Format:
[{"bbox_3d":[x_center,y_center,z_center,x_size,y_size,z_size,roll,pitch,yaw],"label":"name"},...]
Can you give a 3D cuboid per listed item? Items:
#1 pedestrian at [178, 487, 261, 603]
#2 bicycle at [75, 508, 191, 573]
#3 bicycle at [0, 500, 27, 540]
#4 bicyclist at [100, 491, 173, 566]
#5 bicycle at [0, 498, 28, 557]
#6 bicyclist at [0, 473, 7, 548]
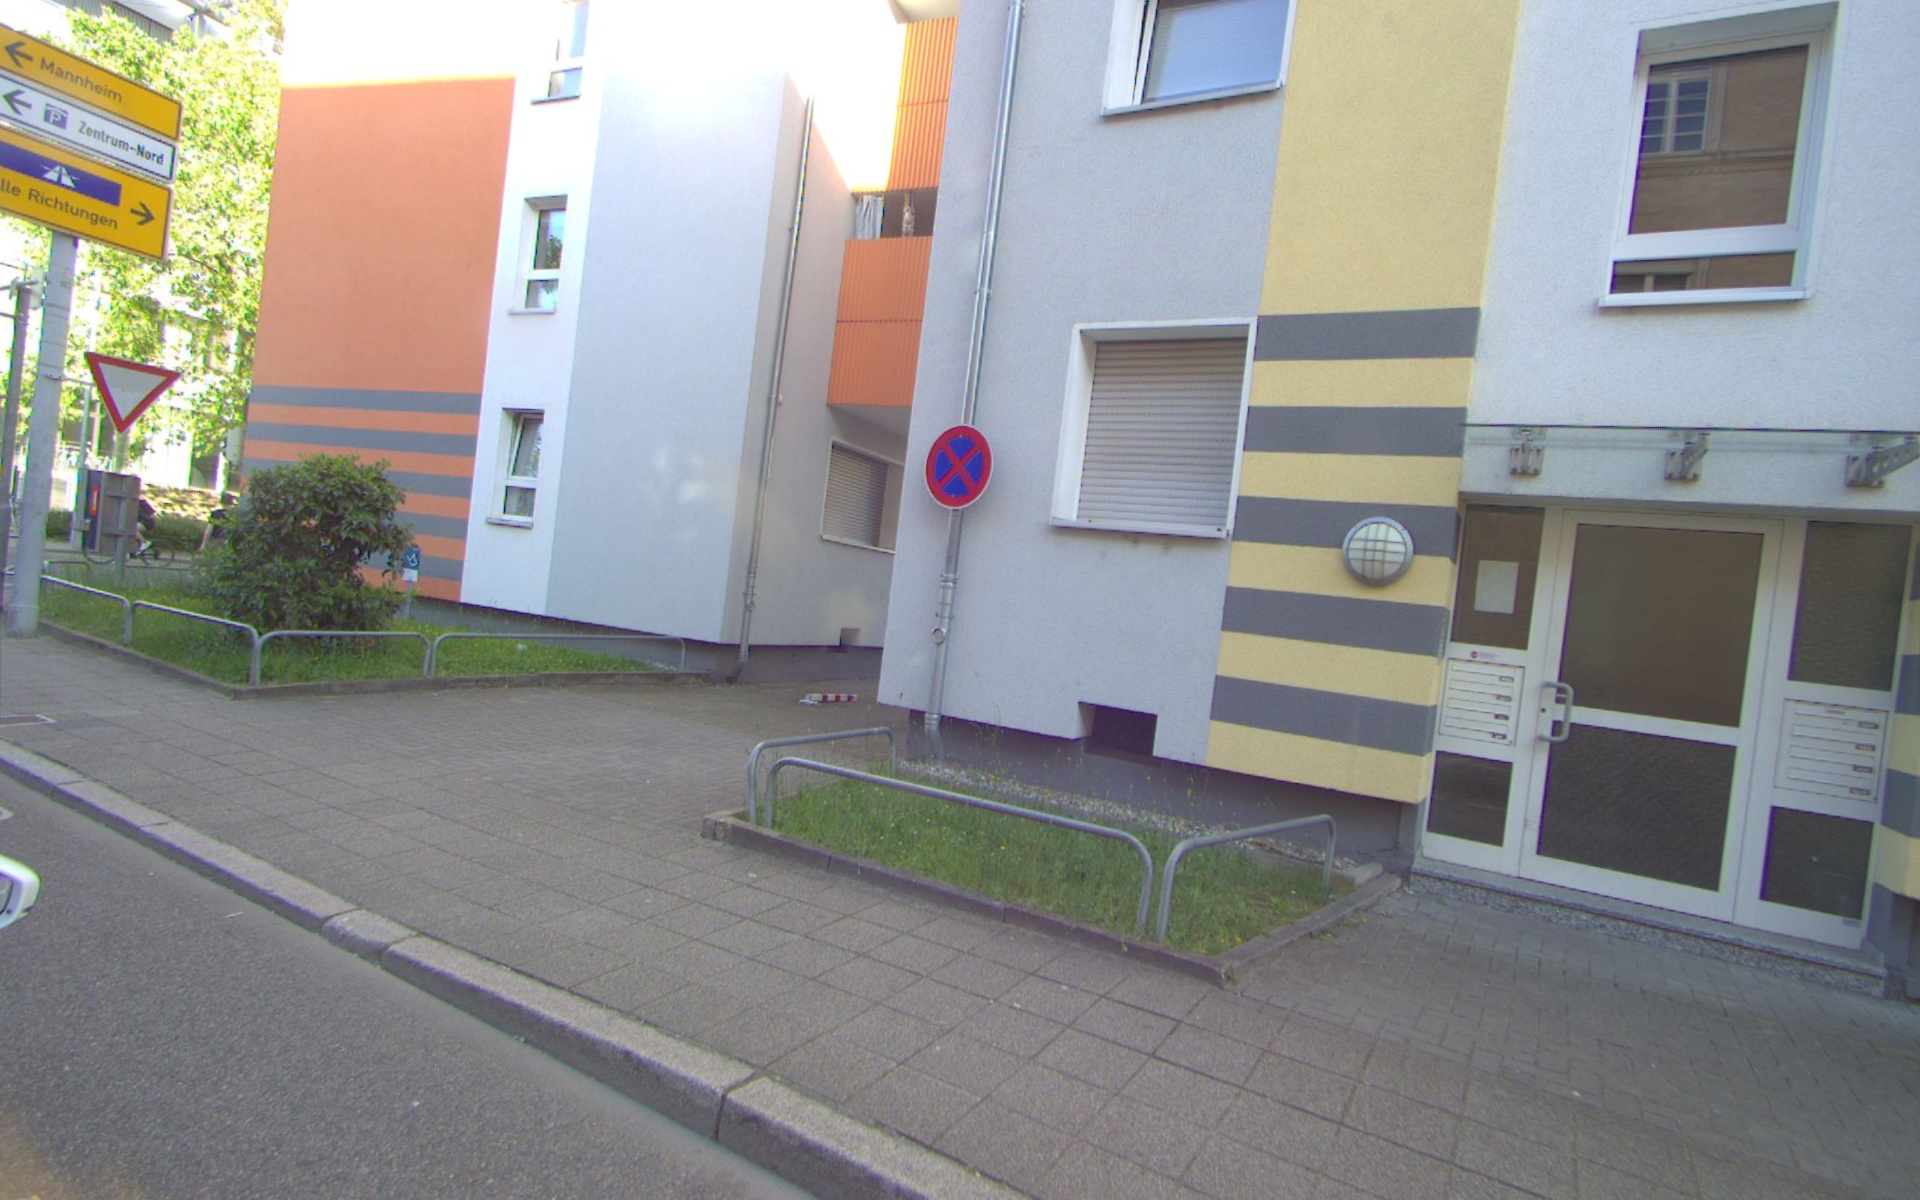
[{"bbox_3d":[-12.547,-0.907,17.067,0.690,1.831,0.719,7,-1,-9],"label":"pedestrian"},{"bbox_3d":[-18.084,-1.276,22.037,0.617,1.166,1.782,7,0,28],"label":"bicycle"},{"bbox_3d":[-26.399,-2.243,27.388,1.409,1.021,0.379,7,1,-11],"label":"bicycle"},{"bbox_3d":[-18.038,-1.556,22.041,0.617,1.464,0.973,7,1,28],"label":"bicyclist"},{"bbox_3d":[-19.898,-1.532,20.083,0.616,1.166,1.969,7,0,0],"label":"bicycle"},{"bbox_3d":[-19.870,-1.857,20.078,0.691,1.542,0.918,7,1,0],"label":"bicyclist"}]
